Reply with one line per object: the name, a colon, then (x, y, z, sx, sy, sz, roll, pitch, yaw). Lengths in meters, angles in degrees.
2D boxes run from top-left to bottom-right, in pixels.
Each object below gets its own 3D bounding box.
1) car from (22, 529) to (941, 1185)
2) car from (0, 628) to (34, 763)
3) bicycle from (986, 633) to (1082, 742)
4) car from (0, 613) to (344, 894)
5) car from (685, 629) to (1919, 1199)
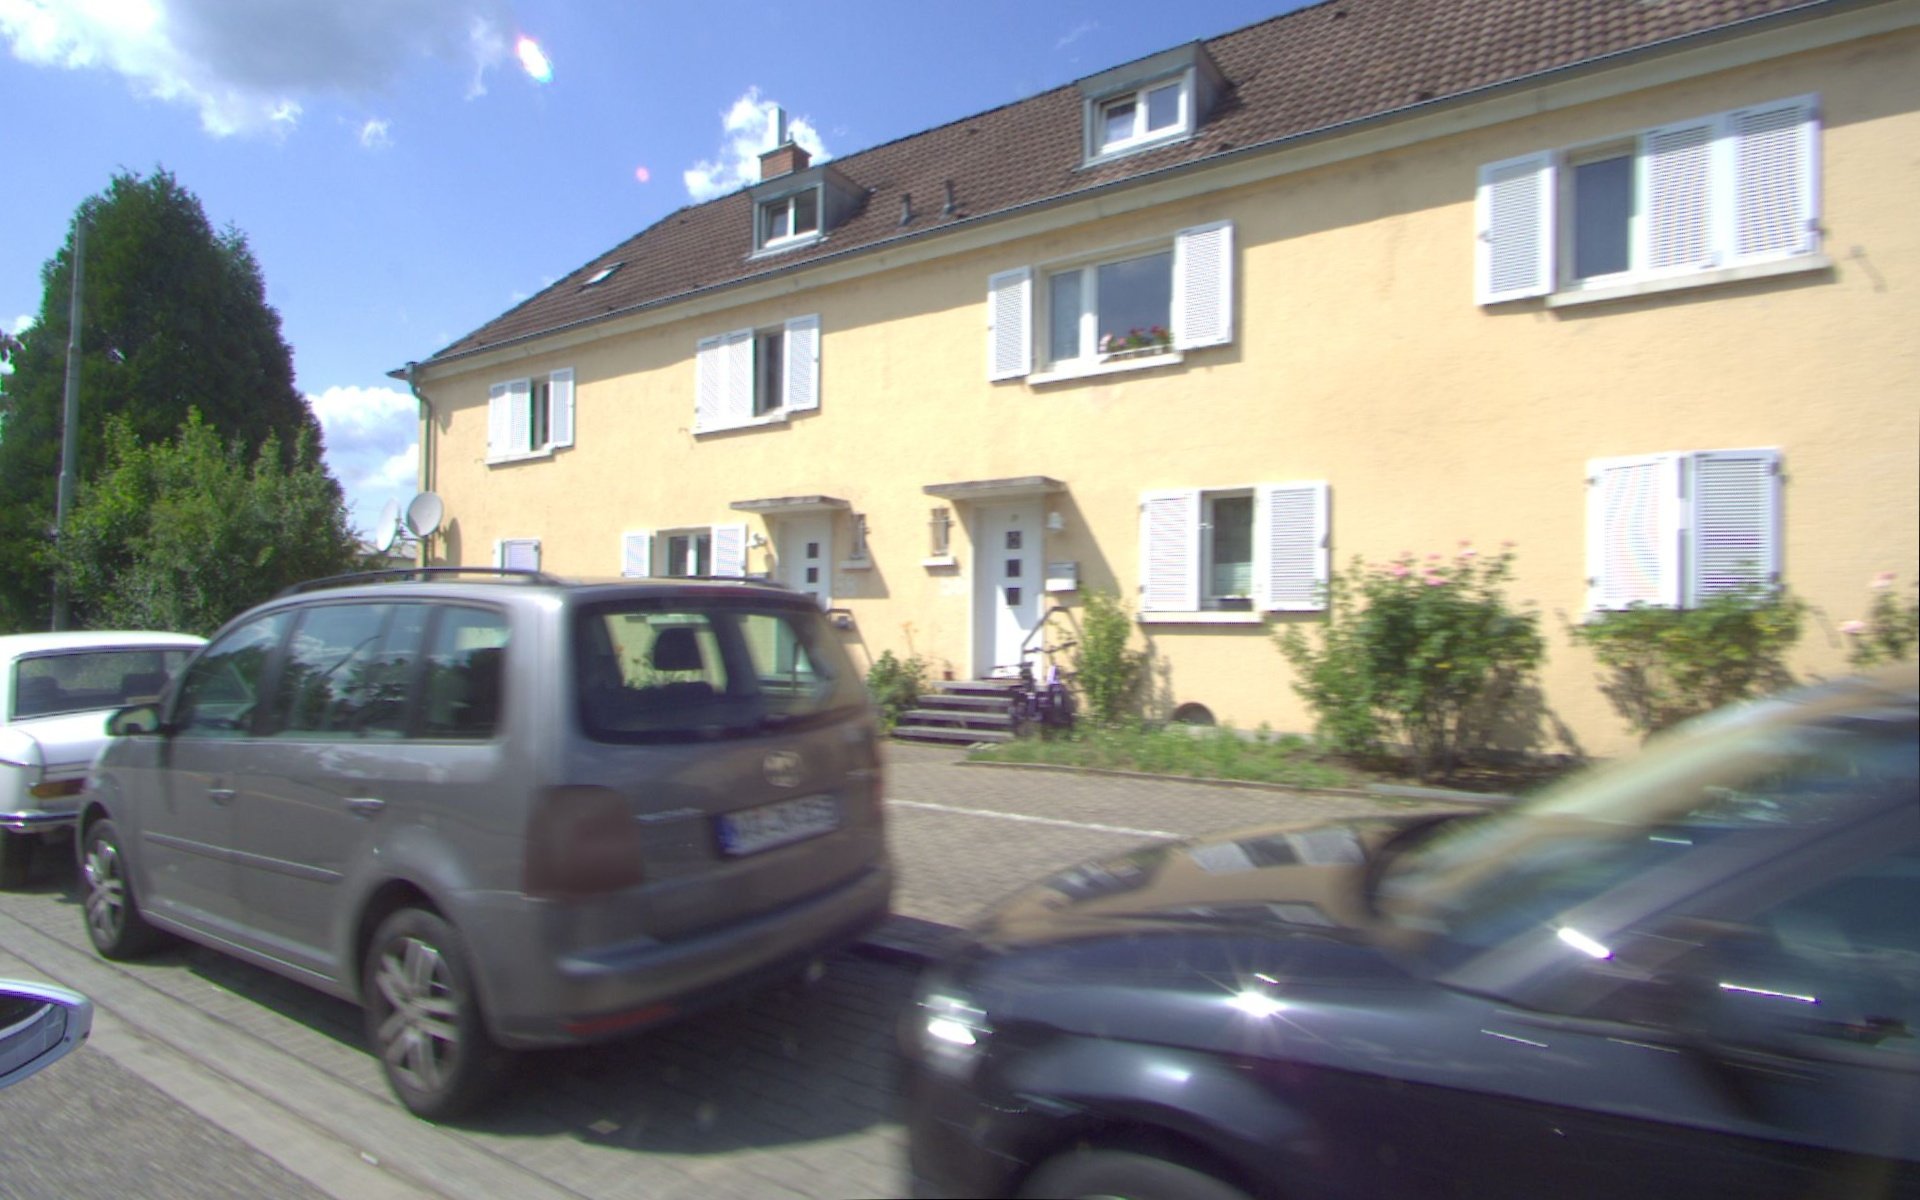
car: (-2.287, 0.703, 4.384, 4.210, 1.651, 1.676, -1, -2, 33)
car: (-11.396, 0.944, 10.335, 4.070, 1.311, 1.718, -1, -2, 33)
bicycle: (0.850, 0.950, 11.076, 0.286, 1.116, 1.687, 0, -3, 32)
car: (-6.103, 0.844, 6.933, 3.970, 1.436, 1.646, -1, -2, 34)
car: (1.740, 0.772, 1.561, 4.454, 1.455, 1.682, -2, -2, 33)
